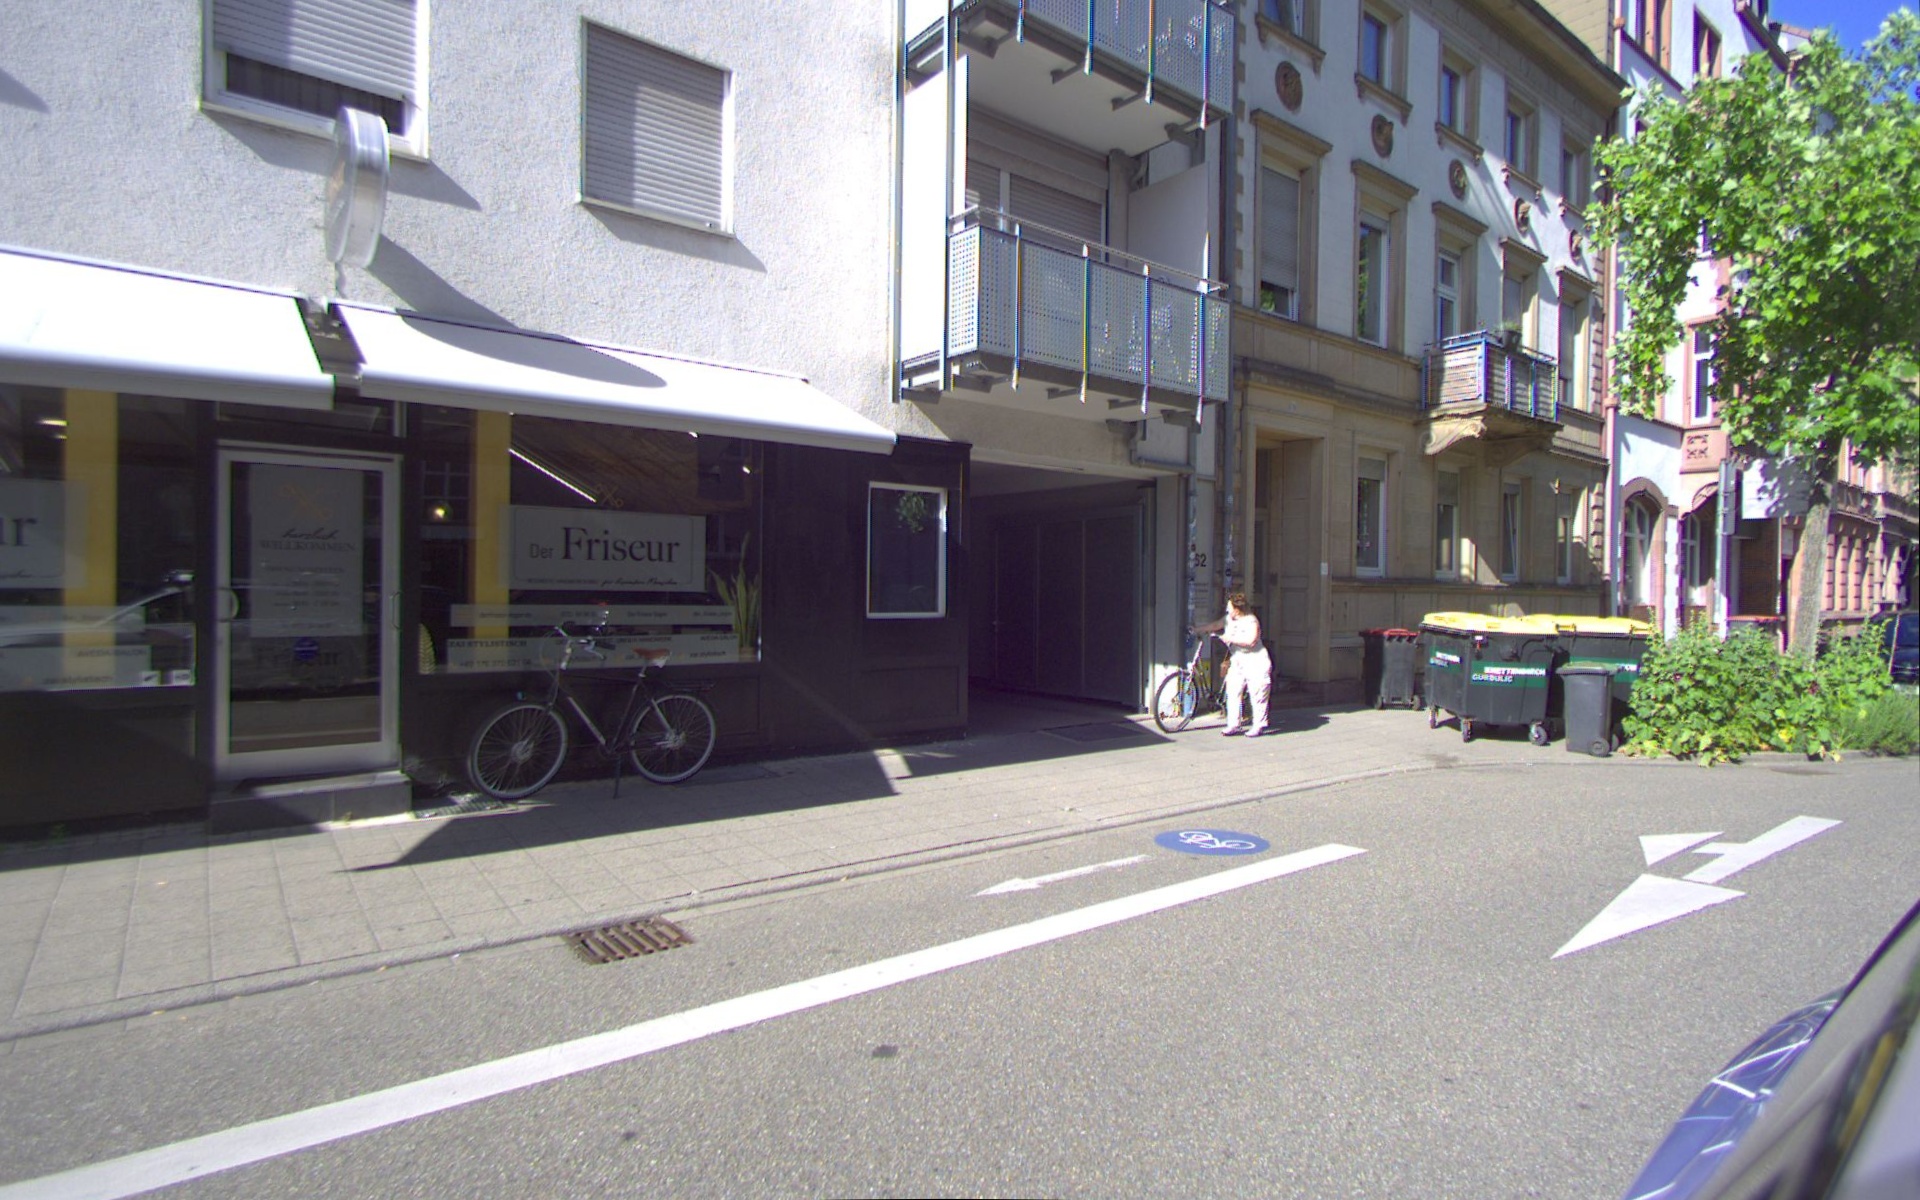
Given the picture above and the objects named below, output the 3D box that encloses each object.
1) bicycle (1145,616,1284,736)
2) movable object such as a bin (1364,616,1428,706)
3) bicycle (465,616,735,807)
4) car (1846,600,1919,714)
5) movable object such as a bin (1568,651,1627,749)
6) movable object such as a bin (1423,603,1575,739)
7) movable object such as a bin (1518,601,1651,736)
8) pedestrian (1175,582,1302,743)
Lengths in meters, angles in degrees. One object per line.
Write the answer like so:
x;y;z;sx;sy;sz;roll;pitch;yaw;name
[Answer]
2.728;0.768;10.762;1.759;1.146;0.402;0;2;-38;bicycle
5.719;0.791;13.305;0.557;1.094;0.616;1;3;4;movable object such as a bin
-2.501;0.726;7.168;1.759;1.193;0.402;0;0;-38;bicycle
14.092;0.763;14.503;3.291;1.510;1.551;0;1;-39;car
6.633;1.023;10.523;0.400;0.933;0.477;3;4;44;movable object such as a bin
5.936;0.749;11.248;1.031;1.341;1.215;1;3;4;movable object such as a bin
7.067;0.740;11.518;0.944;1.365;1.065;2;3;14;movable object such as a bin
2.936;0.619;10.690;0.929;1.556;0.826;0;4;-38;pedestrian
